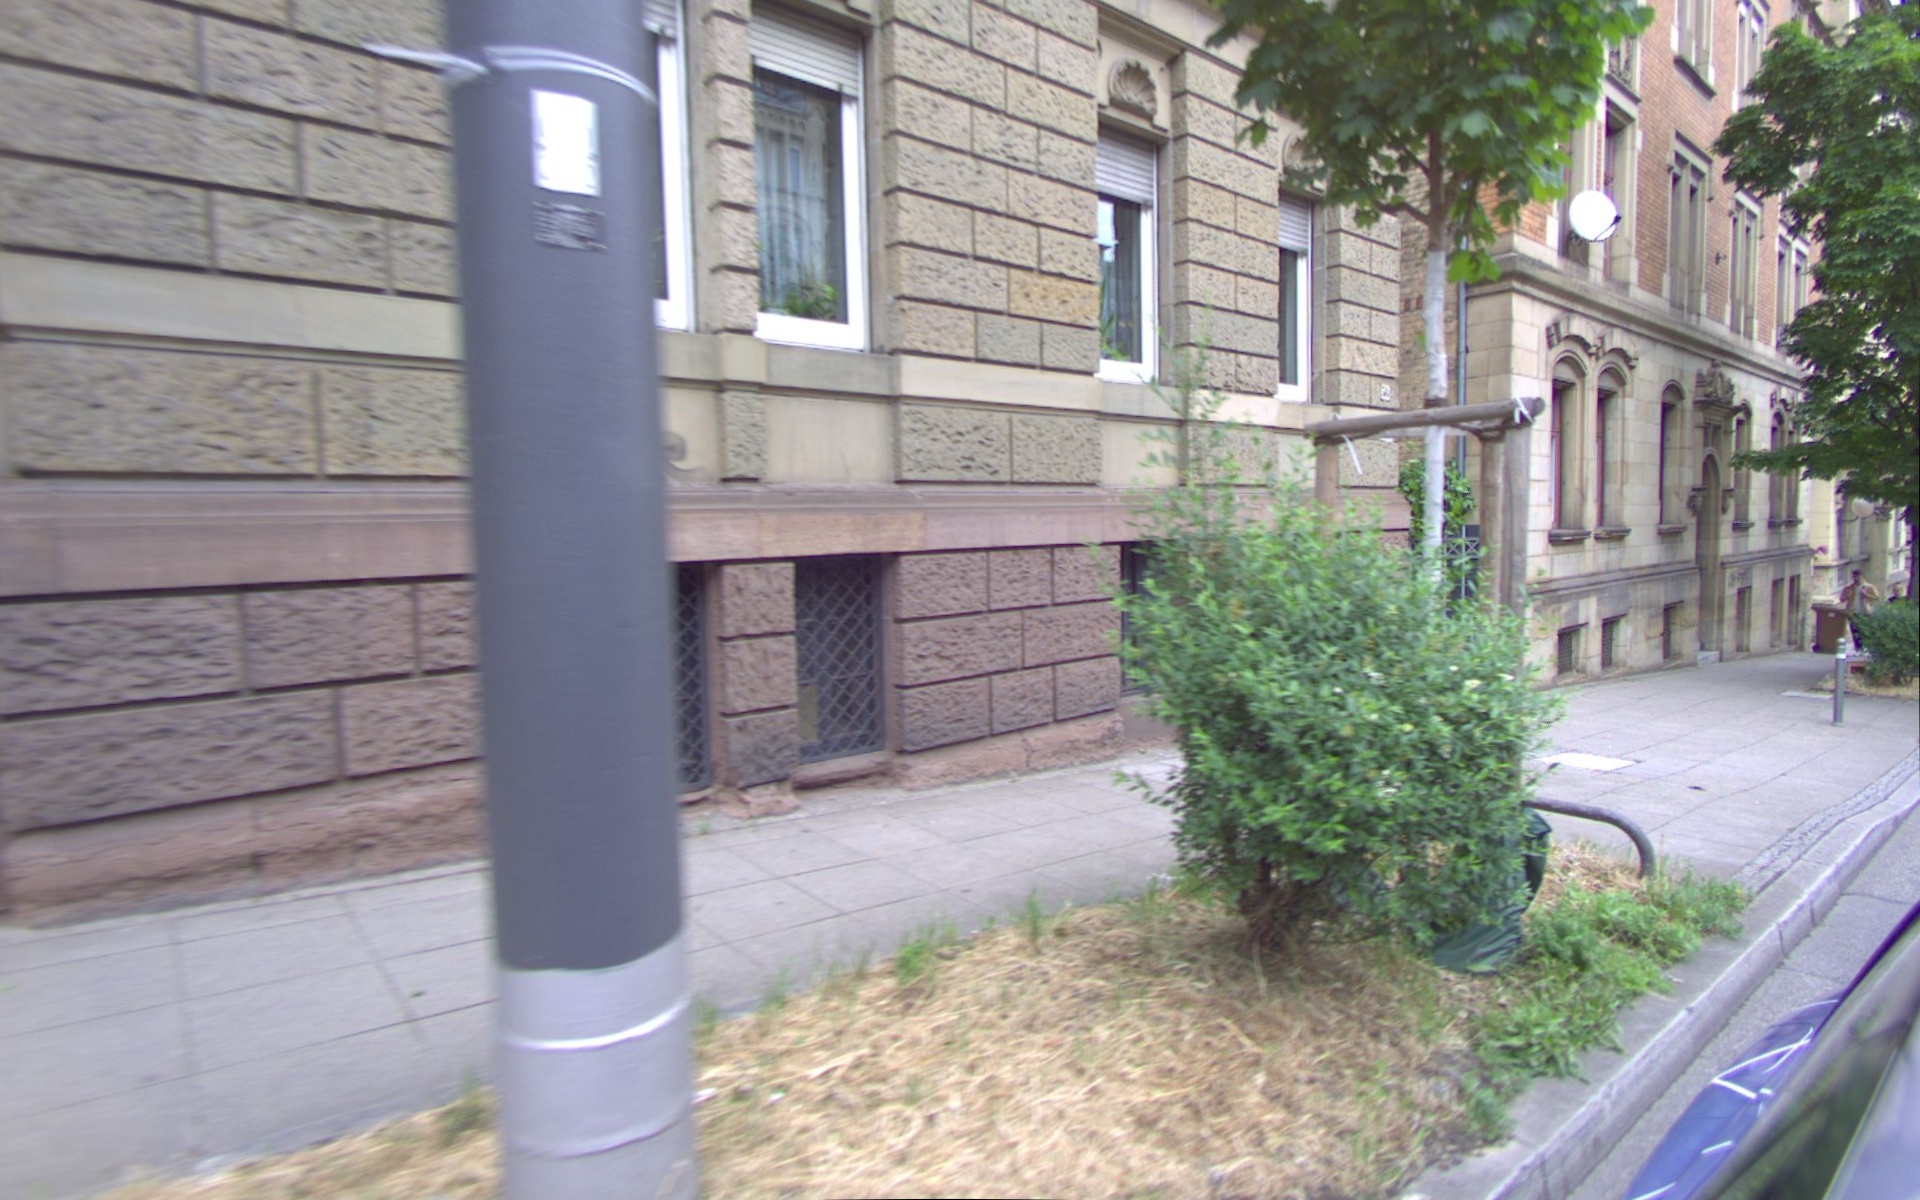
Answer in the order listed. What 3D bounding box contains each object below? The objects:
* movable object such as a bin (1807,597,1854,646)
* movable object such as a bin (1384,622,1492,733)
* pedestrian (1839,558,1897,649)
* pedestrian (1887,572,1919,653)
[{"bbox_3d":[19.522,0.481,22.693,0.572,1.028,0.672,3,2,-42],"label":"movable object such as a bin"},{"bbox_3d":[4.349,0.686,9.215,0.572,0.908,0.672,3,2,-42],"label":"movable object such as a bin"},{"bbox_3d":[19.404,0.051,21.632,1.102,1.851,0.687,-3,5,-40],"label":"pedestrian"},{"bbox_3d":[19.867,0.241,21.024,1.195,1.592,0.687,-3,5,-40],"label":"pedestrian"}]
